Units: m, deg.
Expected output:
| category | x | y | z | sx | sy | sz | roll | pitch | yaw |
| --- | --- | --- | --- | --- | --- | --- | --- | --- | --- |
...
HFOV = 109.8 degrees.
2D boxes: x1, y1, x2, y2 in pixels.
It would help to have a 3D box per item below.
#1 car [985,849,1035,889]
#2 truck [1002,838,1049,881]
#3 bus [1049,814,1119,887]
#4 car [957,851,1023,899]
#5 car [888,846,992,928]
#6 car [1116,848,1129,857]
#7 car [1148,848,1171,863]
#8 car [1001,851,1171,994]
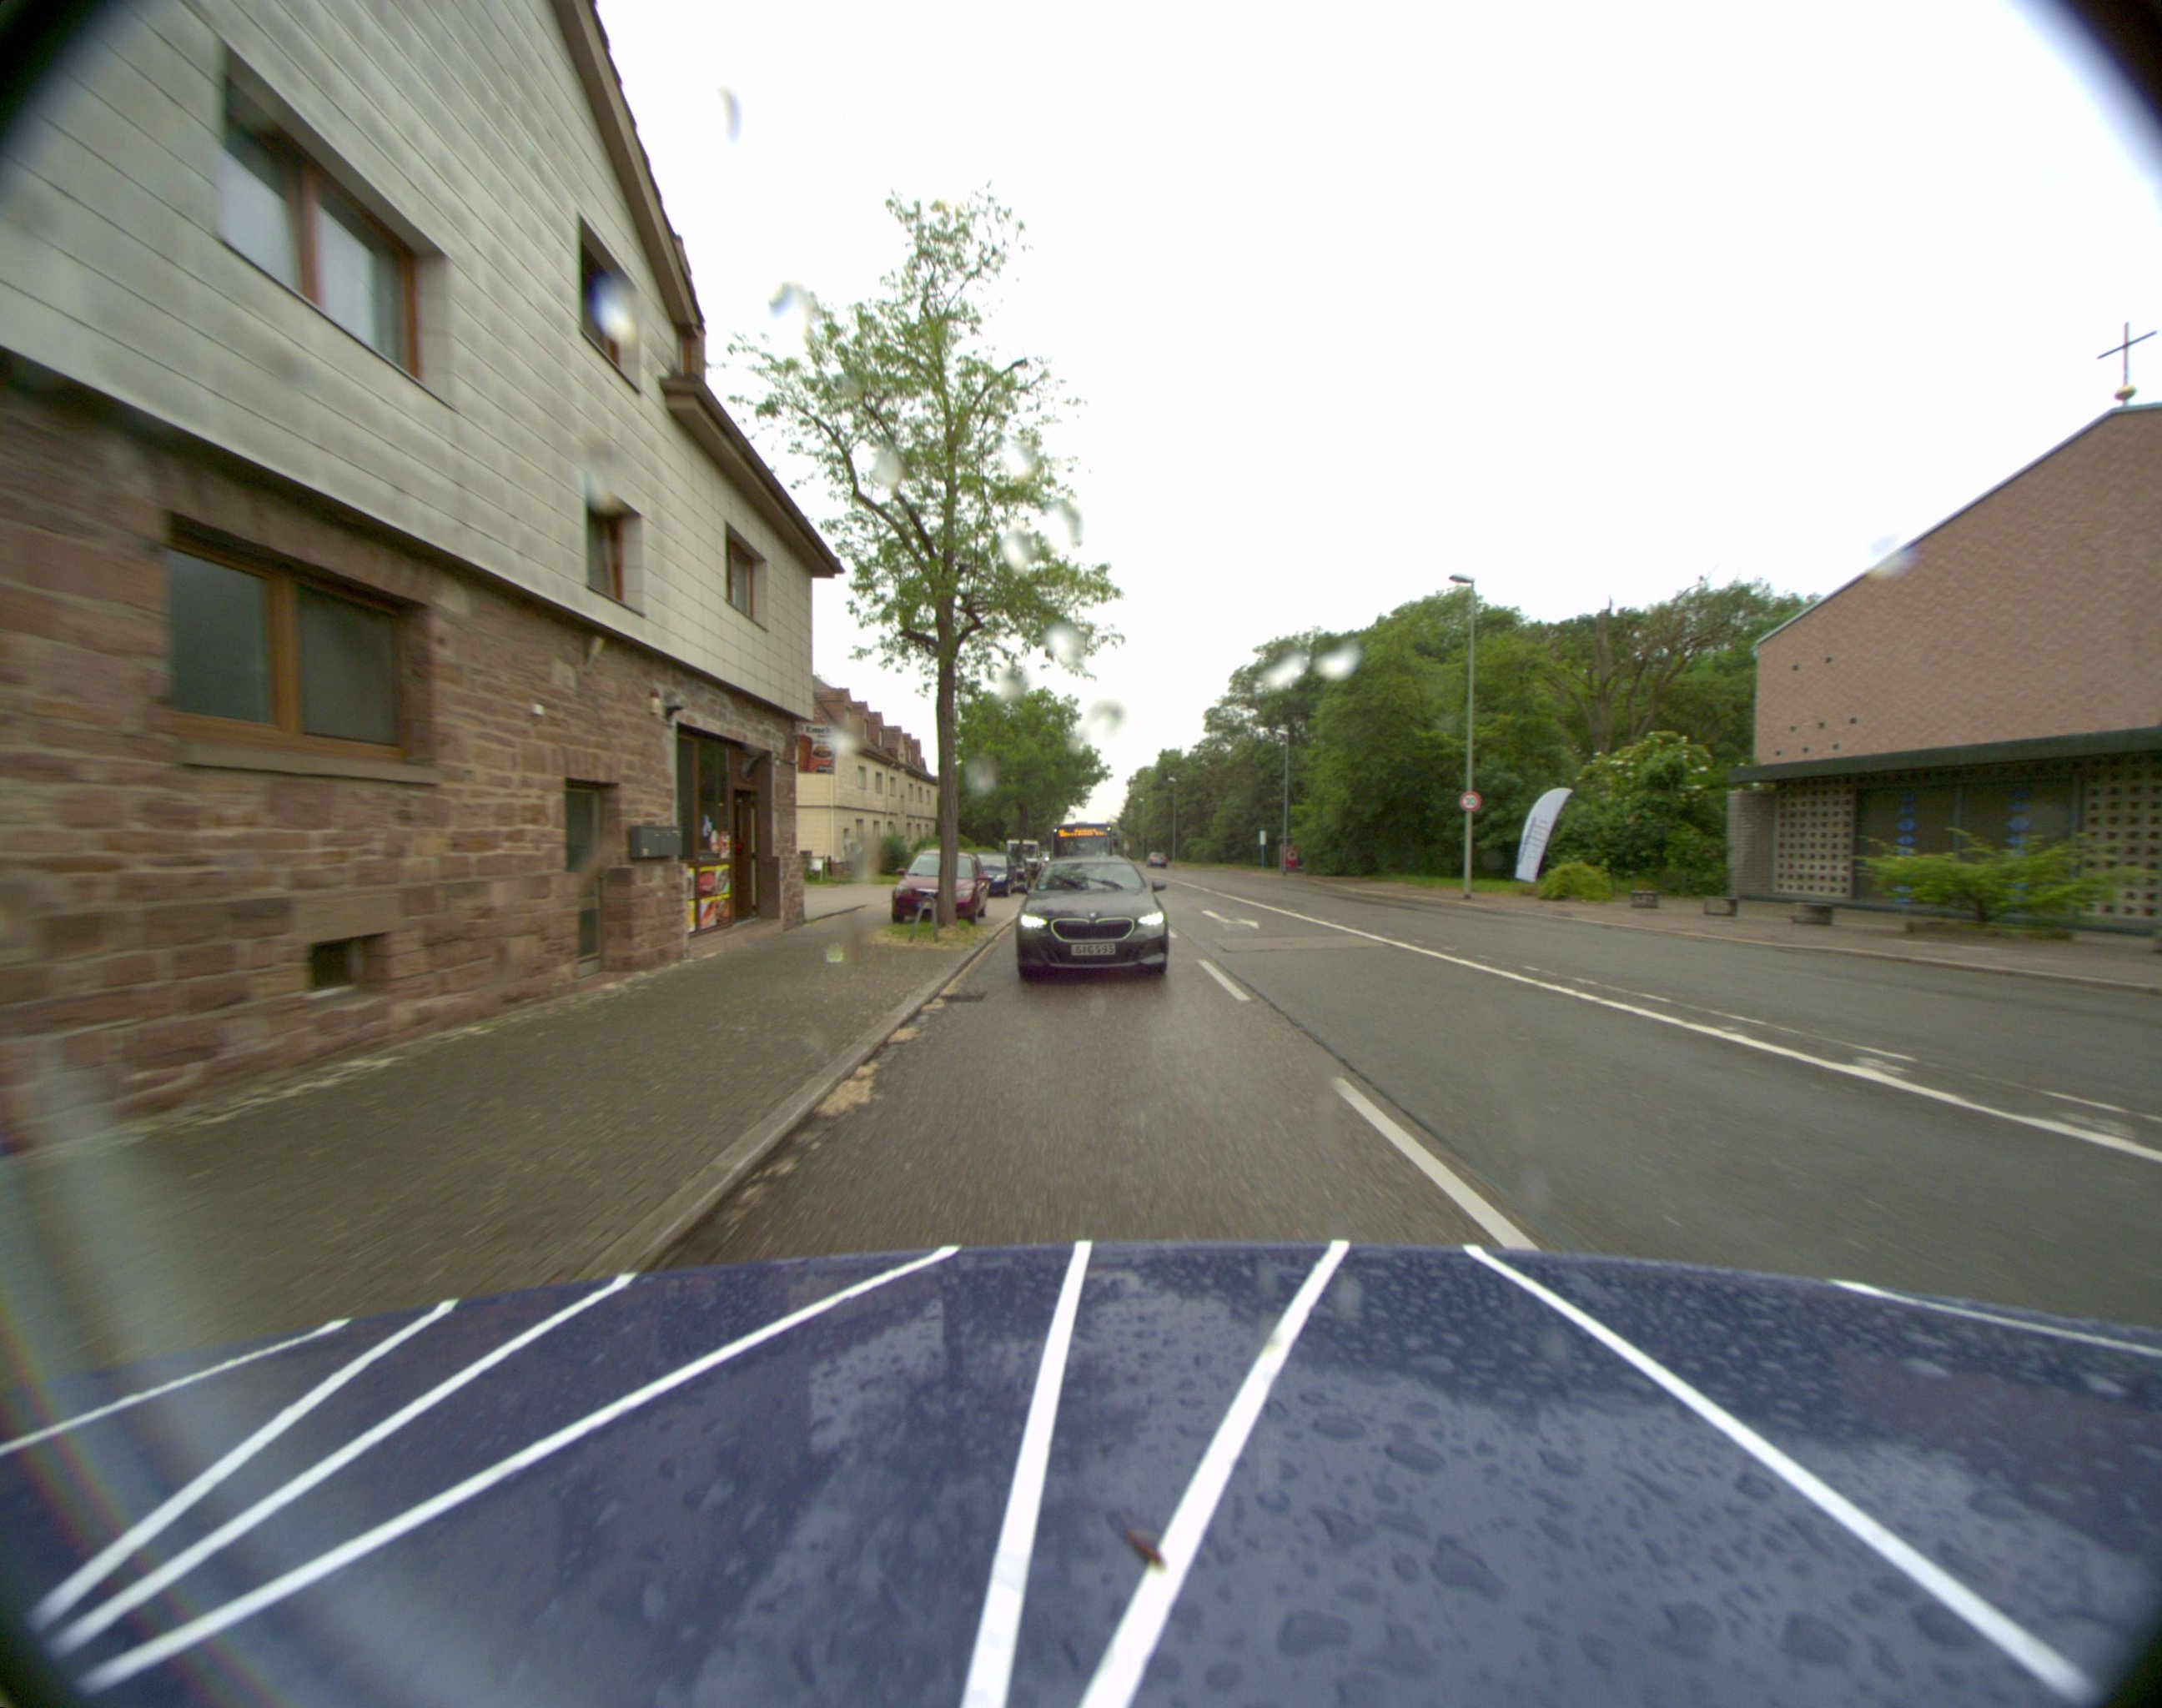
| category | x | y | z | sx | sy | sz | roll | pitch | yaw |
| --- | --- | --- | --- | --- | --- | --- | --- | --- | --- |
| car | -2.889 | 0.570 | 31.670 | 1.720 | 1.456 | 3.998 | 2 | 1 | -1 |
| truck | -2.946 | 0.261 | 41.649 | 1.998 | 2.184 | 5.755 | 1 | 1 | 1 |
| bus | 0.239 | -0.247 | 35.222 | 2.767 | 2.858 | 9.402 | -1 | 1 | 1 |
| car | -3.063 | 0.668 | 26.289 | 1.720 | 1.416 | 3.999 | 2 | 1 | 0 |
| car | -2.866 | 0.640 | 16.166 | 1.615 | 1.495 | 3.756 | -2 | -1 | -2 |
| car | 7.691 | -0.258 | 142.191 | 1.915 | 1.446 | 4.946 | 4 | 1 | -1 |
| car | 8.496 | 0.132 | 82.587 | 1.913 | 1.581 | 4.316 | 1 | 1 | -2 |
| car | 0.077 | 0.777 | 10.820 | 1.882 | 1.520 | 4.315 | -2 | 1 | 1 |
